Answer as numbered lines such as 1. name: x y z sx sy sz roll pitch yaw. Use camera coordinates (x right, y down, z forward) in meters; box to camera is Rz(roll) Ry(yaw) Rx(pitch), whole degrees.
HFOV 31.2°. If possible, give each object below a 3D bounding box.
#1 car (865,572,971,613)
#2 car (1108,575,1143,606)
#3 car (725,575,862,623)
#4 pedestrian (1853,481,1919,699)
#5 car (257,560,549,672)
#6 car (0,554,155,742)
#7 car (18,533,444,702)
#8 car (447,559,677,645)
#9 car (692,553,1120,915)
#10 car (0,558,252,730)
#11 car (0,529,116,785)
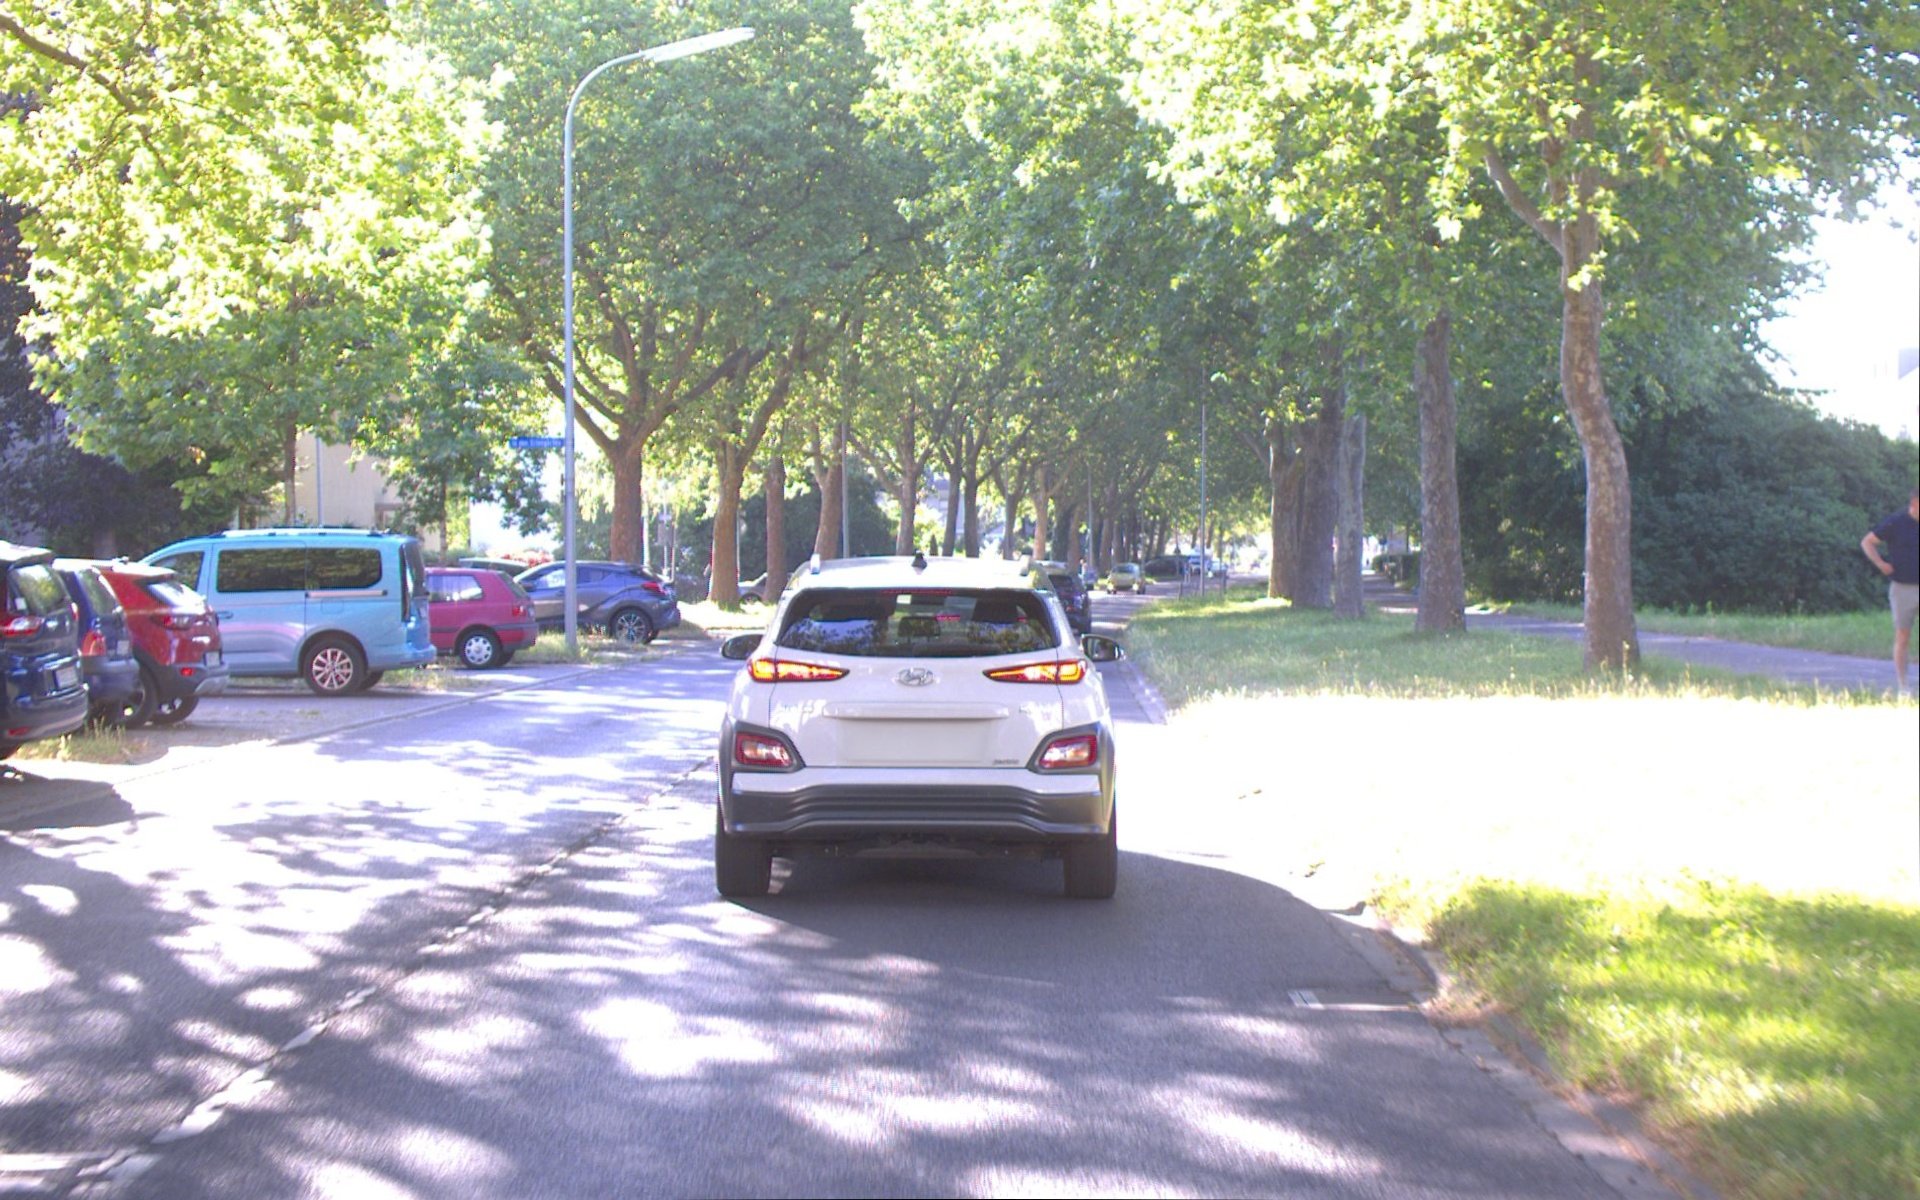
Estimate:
1. car: -1.676 -0.304 138.373 4.183 1.579 2.000 0 0 2
2. car: 7.977 -0.446 165.763 1.689 1.460 3.694 1 0 3
3. car: -4.879 -0.028 100.956 3.826 1.312 1.790 2 0 4
4. pedestrian: 8.108 -0.088 29.400 0.761 1.840 0.787 0 0 4
5. car: -7.843 0.217 48.657 3.871 1.513 1.665 -1 1 -1
6. car: -8.694 0.362 28.838 3.511 1.511 1.727 1 0 -4
7. car: -8.151 0.187 38.730 4.385 1.818 1.996 0 0 -1
8. car: -7.213 0.026 62.620 3.988 1.513 1.817 0 0 -1
9. car: -0.308 0.569 16.888 1.835 1.550 4.000 1 0 -2
10. car: -8.452 0.373 31.292 3.642 1.511 1.782 0 0 1
11. car: -8.118 0.369 23.811 4.091 1.710 1.831 0 0 0
